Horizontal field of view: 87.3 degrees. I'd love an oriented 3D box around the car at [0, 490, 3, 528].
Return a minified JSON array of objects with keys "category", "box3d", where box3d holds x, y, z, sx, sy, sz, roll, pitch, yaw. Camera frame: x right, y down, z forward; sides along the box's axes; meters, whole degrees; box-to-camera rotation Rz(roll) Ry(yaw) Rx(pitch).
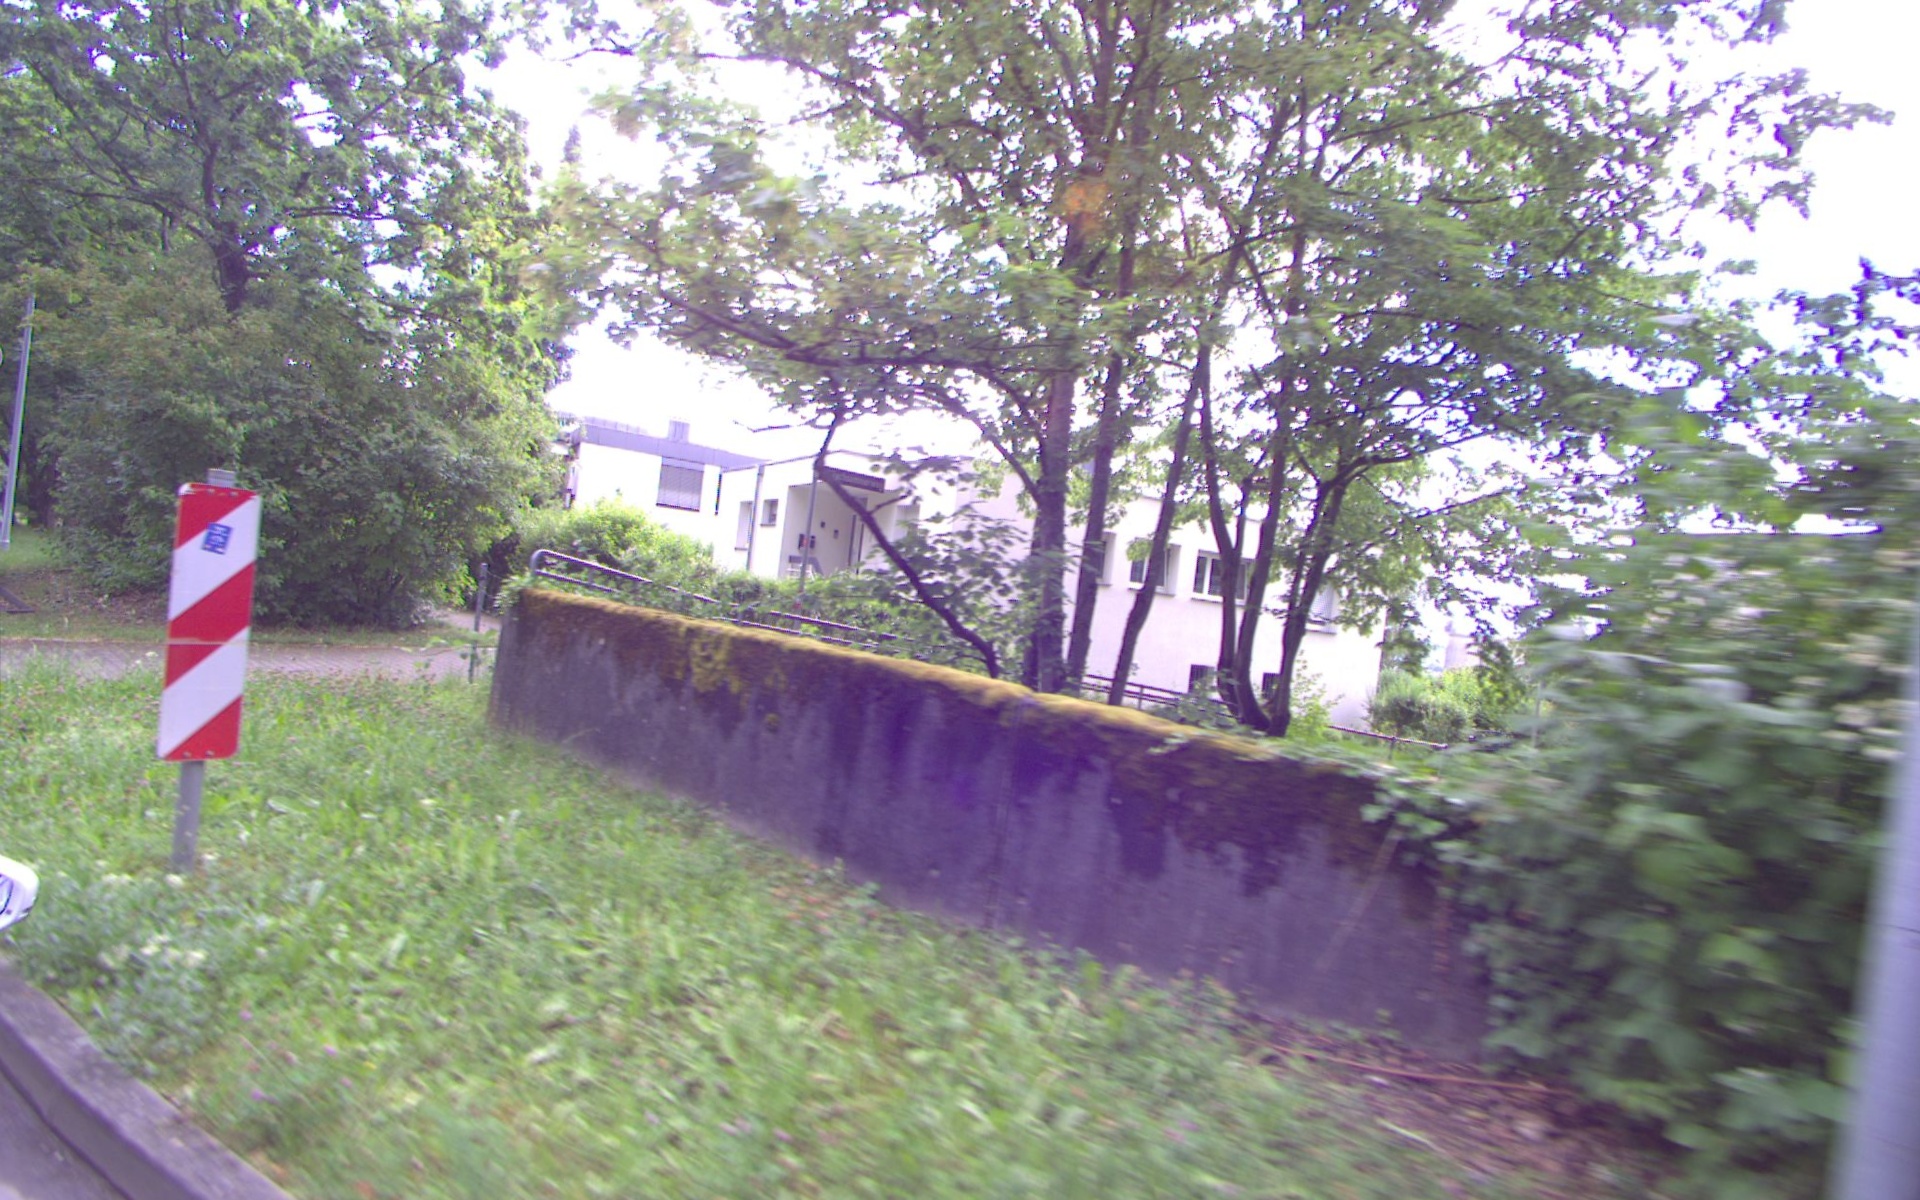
[{"category":"car","box3d":[-15.355,-1.042,14.591,4.003,1.428,1.789,7,0,42]}]
